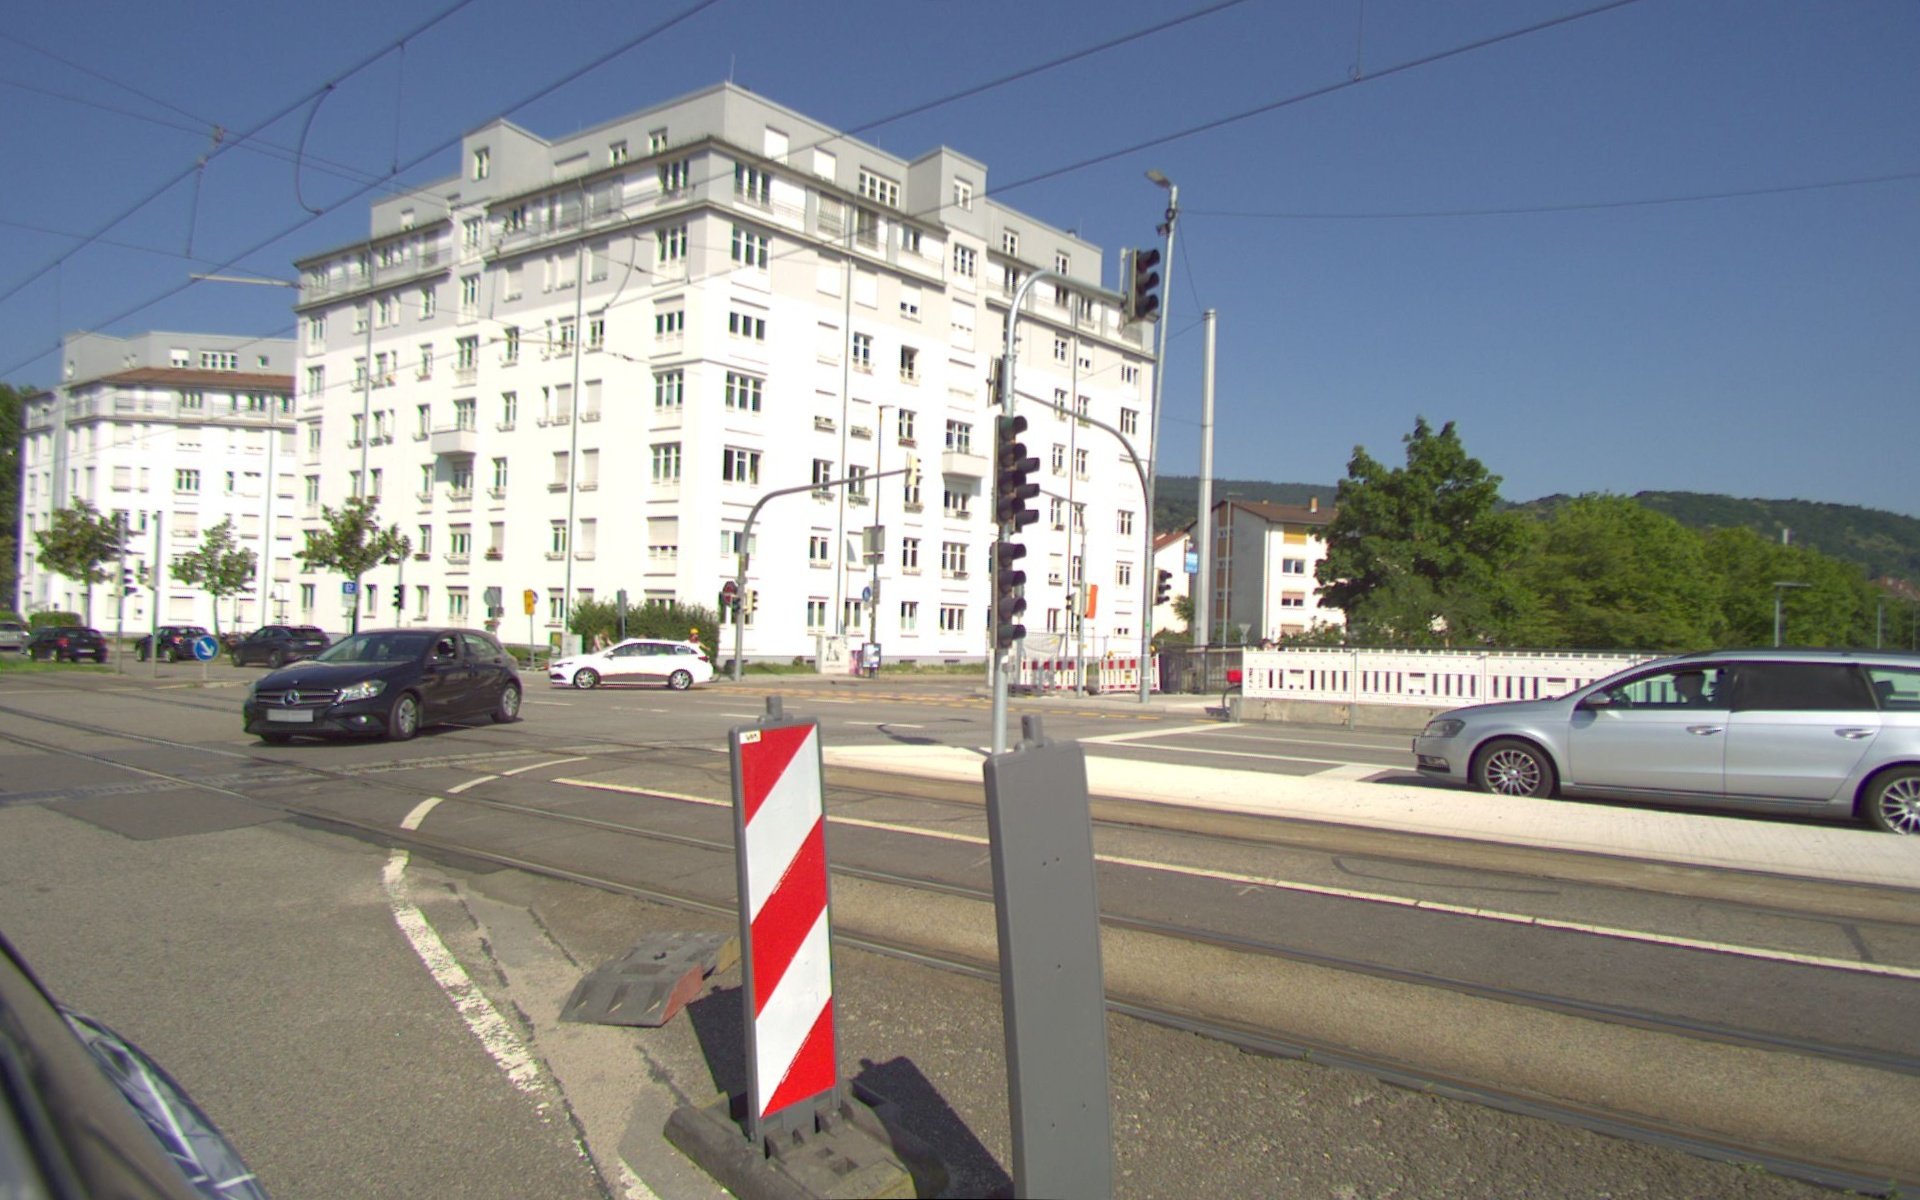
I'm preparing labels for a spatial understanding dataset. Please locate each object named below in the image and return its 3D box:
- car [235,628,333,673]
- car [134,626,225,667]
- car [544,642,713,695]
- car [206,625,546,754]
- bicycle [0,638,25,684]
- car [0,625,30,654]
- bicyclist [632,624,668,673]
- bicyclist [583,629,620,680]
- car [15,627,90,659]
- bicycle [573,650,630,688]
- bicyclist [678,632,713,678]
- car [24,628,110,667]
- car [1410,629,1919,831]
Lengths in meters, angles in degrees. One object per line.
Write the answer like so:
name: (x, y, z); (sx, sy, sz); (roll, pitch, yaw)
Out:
car: (-26.135, 1.911, 39.110); (3.727, 1.650, 1.722); (0, -2, 31)
car: (-33.450, 1.959, 43.365); (3.724, 1.650, 1.723); (0, -2, 29)
car: (-9.548, 1.945, 29.194); (4.408, 1.423, 1.708); (2, -2, -27)
car: (-7.534, 1.079, 13.706); (1.682, 1.419, 4.617); (1, -2, 4)
bicycle: (-22.295, 1.395, 22.623); (0.817, 1.028, 1.896); (-2, -2, 25)
car: (-51.435, 2.077, 53.954); (3.727, 1.496, 1.722); (0, -2, 31)
bicyclist: (-10.088, 1.565, 32.918); (0.912, 1.591, 0.619); (0, -1, 23)
bicyclist: (-11.600, 1.758, 32.734); (0.912, 1.602, 0.619); (1, -1, 24)
car: (-44.647, 2.072, 49.763); (3.727, 1.496, 1.722); (0, -2, 31)
bicycle: (-11.595, 2.219, 32.721); (1.775, 1.108, 0.614); (1, -2, 24)
bicyclist: (-8.736, 1.797, 33.444); (0.911, 1.489, 0.593); (0, -2, 20)
car: (-36.178, 1.909, 40.976); (3.650, 1.504, 1.577); (-1, -3, 32)
car: (6.554, 1.023, 8.778); (4.634, 1.448, 1.623); (-1, -4, 36)
